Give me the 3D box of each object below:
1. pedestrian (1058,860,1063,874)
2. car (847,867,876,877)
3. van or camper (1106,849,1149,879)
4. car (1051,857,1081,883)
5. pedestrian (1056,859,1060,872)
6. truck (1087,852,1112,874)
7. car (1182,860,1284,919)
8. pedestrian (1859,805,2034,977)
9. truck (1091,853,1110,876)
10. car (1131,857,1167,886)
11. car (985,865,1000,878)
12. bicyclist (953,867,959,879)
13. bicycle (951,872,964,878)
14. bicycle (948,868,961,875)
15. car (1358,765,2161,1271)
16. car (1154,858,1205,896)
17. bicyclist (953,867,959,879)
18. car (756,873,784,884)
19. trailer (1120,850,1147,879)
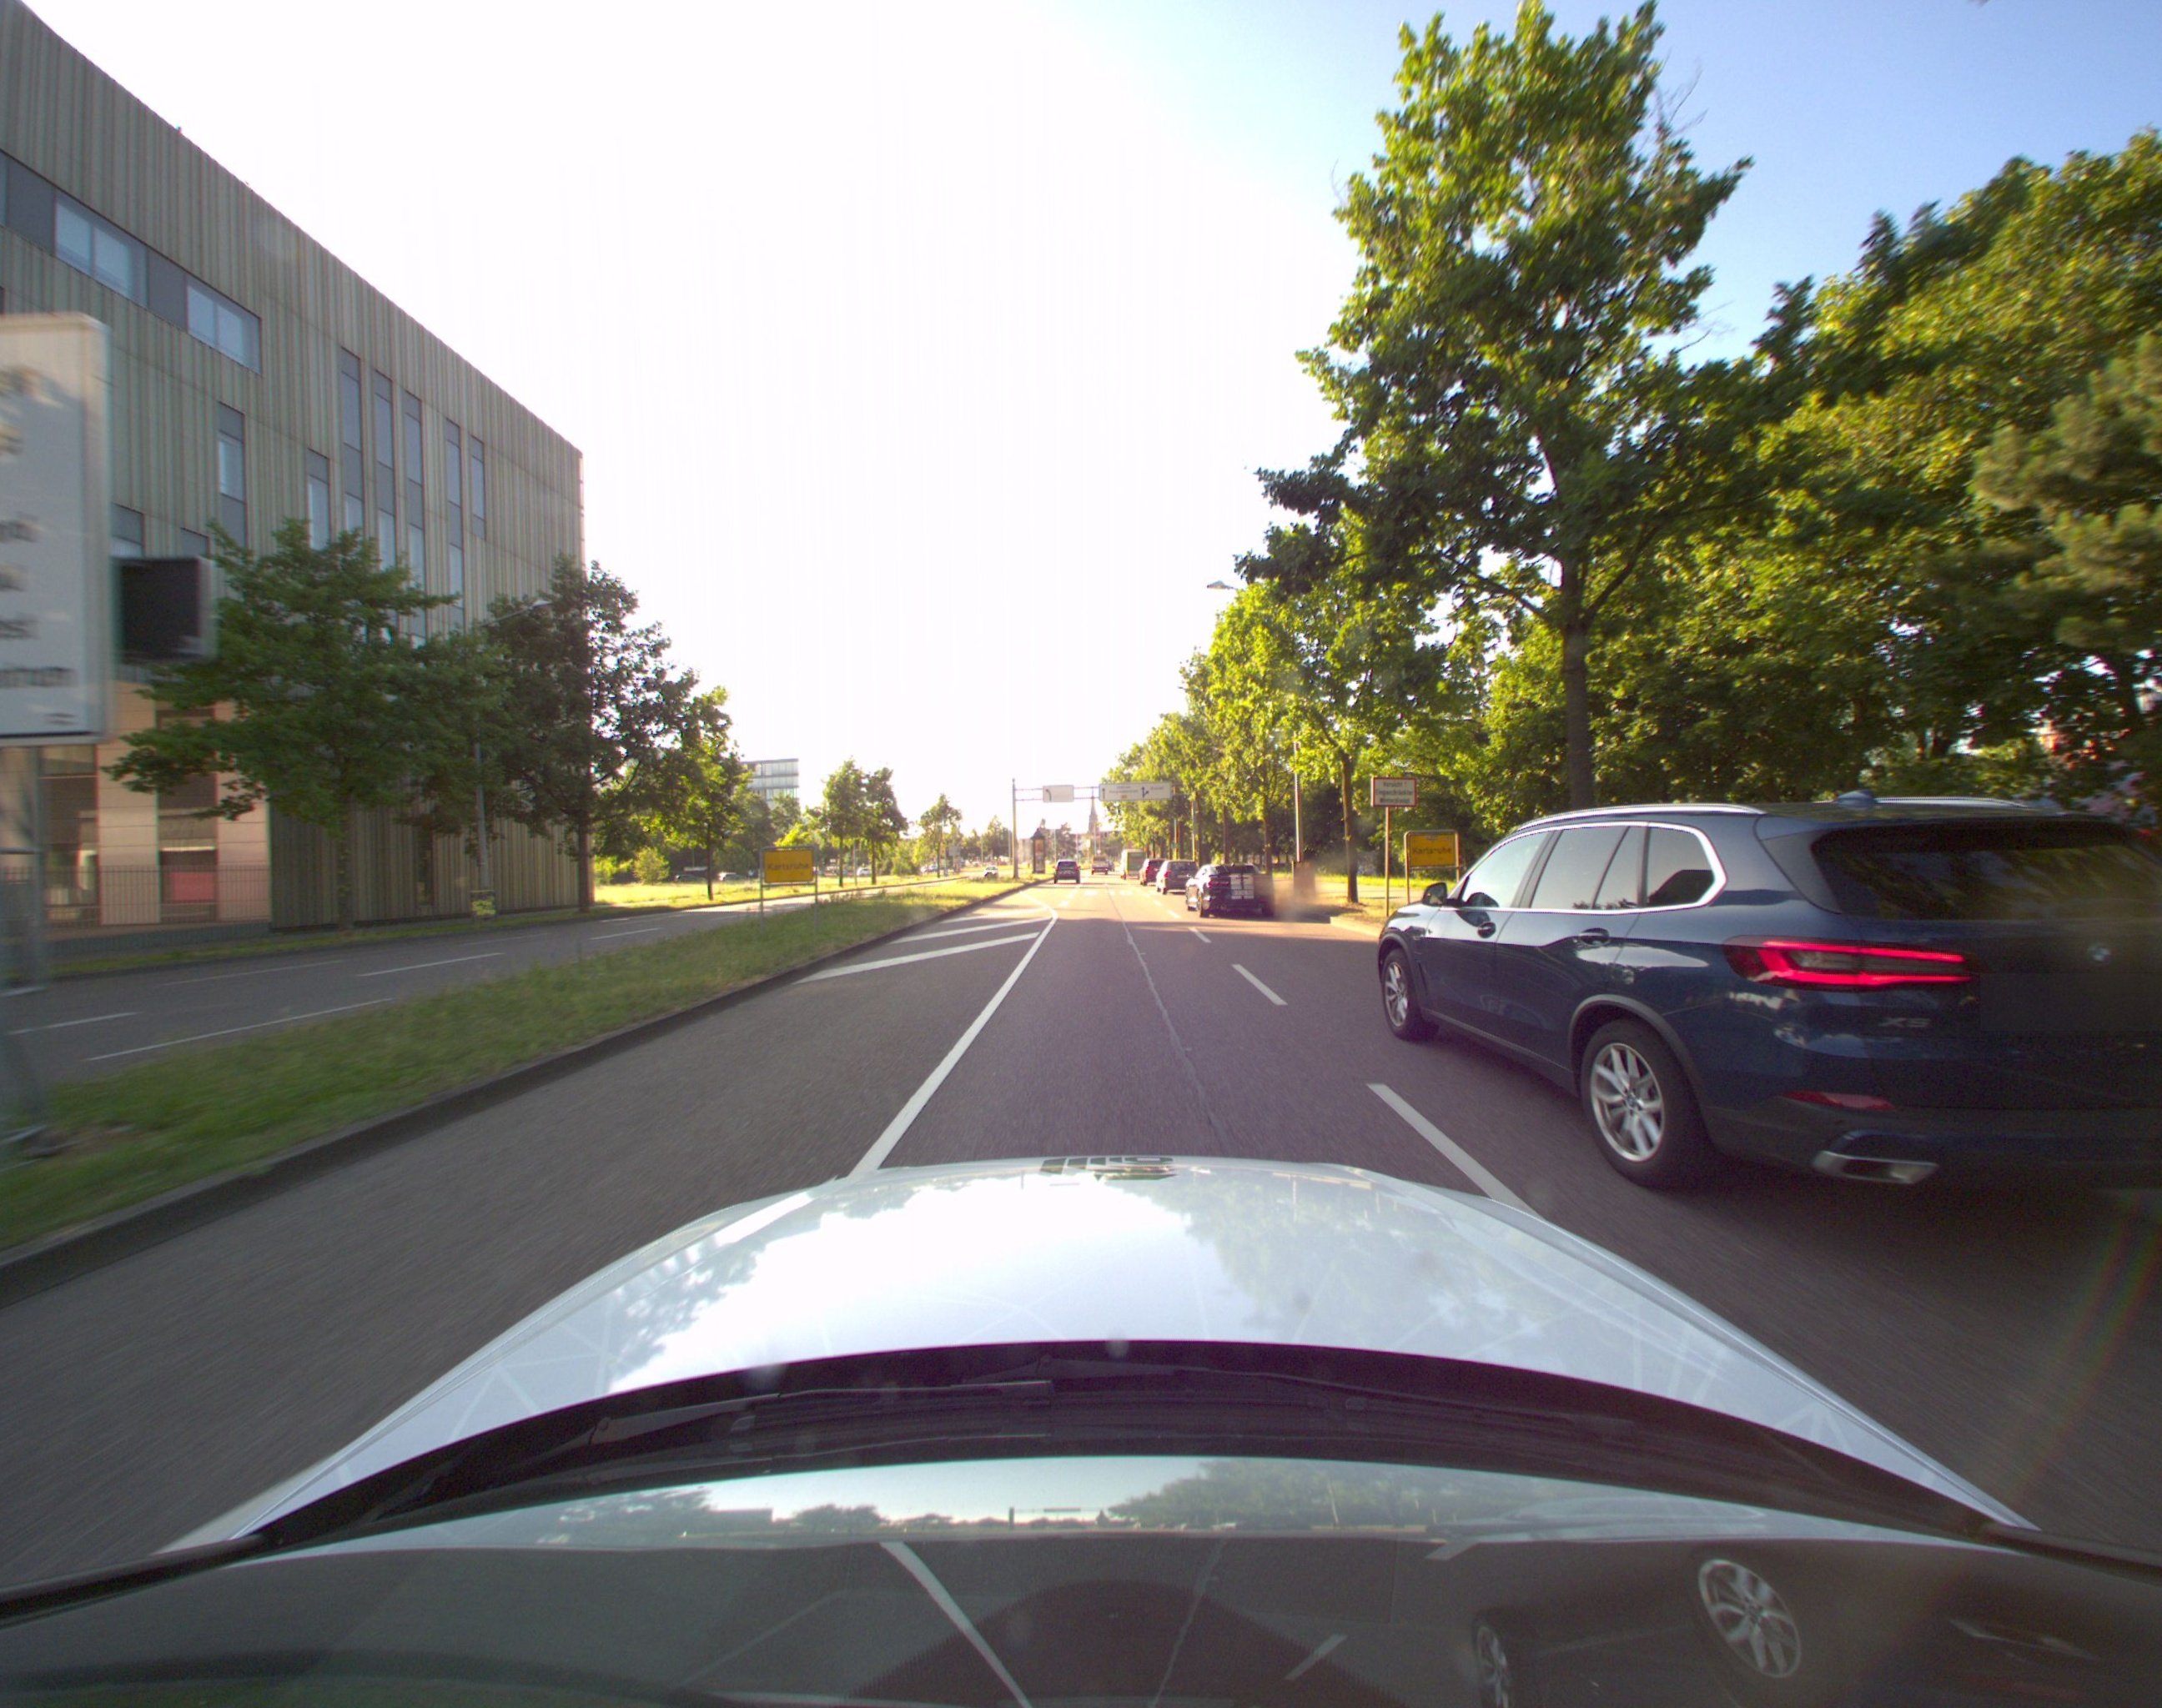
[{"bbox_3d":[-3.094,1.964,123.139,0.788,2.013,0.700,-2,0,-5],"label":"pedestrian"},{"bbox_3d":[-37.968,3.064,140.899,4.332,1.508,1.853,-2,0,-42],"label":"car"},{"bbox_3d":[4.270,0.888,75.631,2.287,2.629,6.554,-1,0,-13],"label":"van or camper"},{"bbox_3d":[-1.047,1.103,56.489,1.901,1.660,3.995,-2,-1,-3],"label":"car"},{"bbox_3d":[-3.406,1.753,122.796,0.483,1.844,0.720,-2,-2,4],"label":"pedestrian"},{"bbox_3d":[2.246,1.108,100.852,2.575,2.558,6.243,-2,0,-4],"label":"truck"},{"bbox_3d":[3.886,0.860,21.603,1.848,1.338,4.625,-2,0,0],"label":"car"},{"bbox_3d":[8.557,0.343,8.091,0.670,1.573,0.908,-3,0,-7],"label":"pedestrian"},{"bbox_3d":[2.364,1.251,100.390,2.213,2.651,4.772,-2,0,0],"label":"truck"},{"bbox_3d":[4.047,1.027,48.907,1.743,1.621,3.817,0,0,-2],"label":"car"},{"bbox_3d":[-11.256,2.238,103.619,1.558,1.575,3.410,-2,-1,-2],"label":"car"},{"bbox_3d":[-19.243,2.925,125.165,0.807,1.770,0.498,-1,-1,16],"label":"bicyclist"},{"bbox_3d":[-19.168,3.250,126.337,1.898,1.020,0.505,-1,-1,8],"label":"bicycle"},{"bbox_3d":[-19.471,2.709,125.227,1.894,1.020,0.506,-1,-1,16],"label":"bicycle"},{"bbox_3d":[3.463,0.592,5.150,1.947,1.727,4.701,-1,-1,2],"label":"car"},{"bbox_3d":[4.263,0.967,35.684,1.742,1.473,3.819,-2,0,0],"label":"car"},{"bbox_3d":[-19.432,2.911,126.366,0.808,1.789,0.497,-1,-1,9],"label":"bicyclist"},{"bbox_3d":[-49.744,3.876,130.202,3.729,1.508,1.853,-2,0,-42],"label":"car"},{"bbox_3d":[4.472,0.917,69.685,2.082,2.400,3.502,0,0,1],"label":"trailer"}]
